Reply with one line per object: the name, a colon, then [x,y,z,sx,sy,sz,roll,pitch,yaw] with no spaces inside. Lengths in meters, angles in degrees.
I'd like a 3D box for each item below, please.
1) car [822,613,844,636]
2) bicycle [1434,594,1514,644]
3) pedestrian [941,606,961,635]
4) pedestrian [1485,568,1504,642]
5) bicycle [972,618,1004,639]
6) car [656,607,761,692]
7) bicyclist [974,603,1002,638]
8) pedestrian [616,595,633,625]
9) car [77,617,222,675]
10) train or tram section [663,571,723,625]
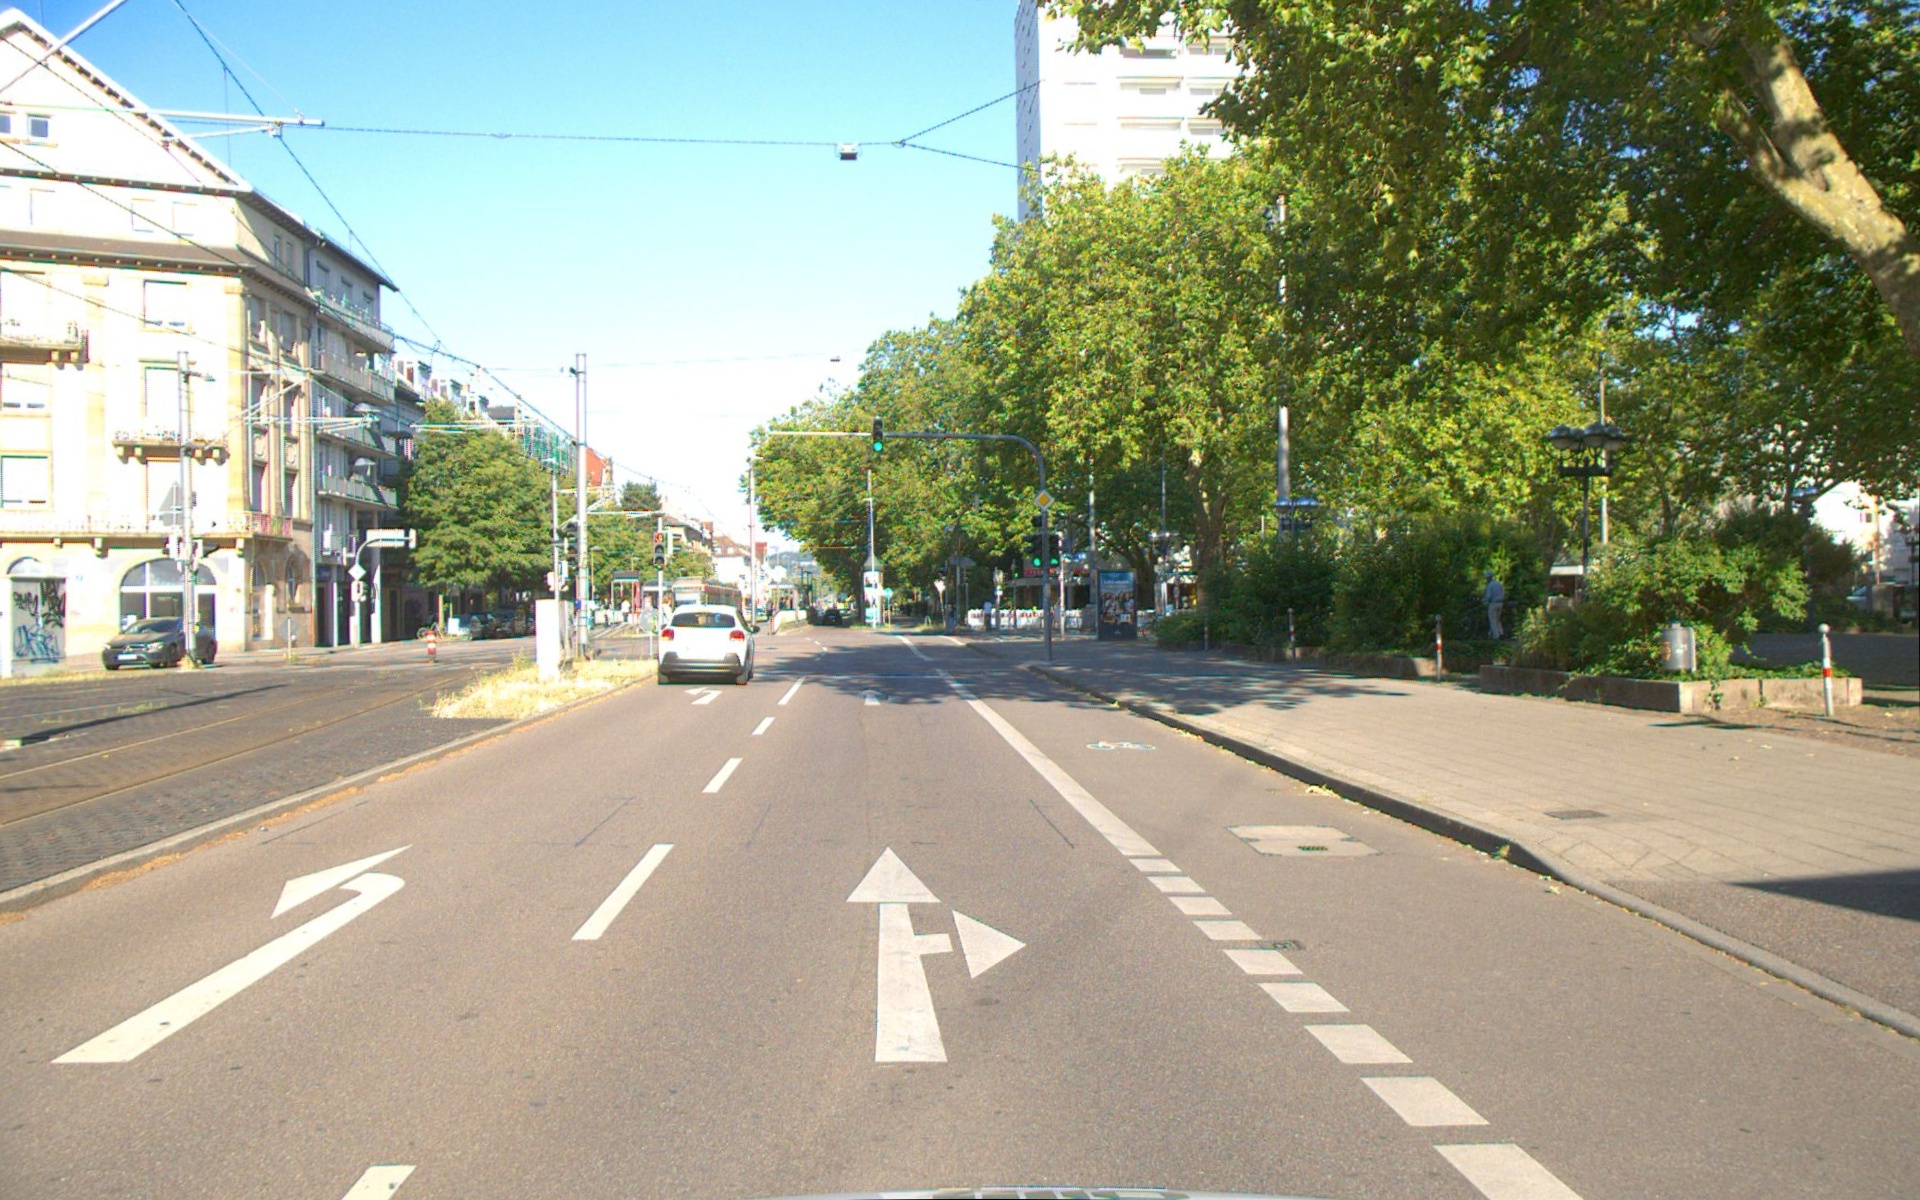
car: [-11.879,2.293,155.091,1.954,2.049,3.997,1,0,-3]
bicycle: [13.489,0.505,43.403,2.289,1.262,0.451,1,0,-25]
pedestrian: [-0.457,1.031,81.628,0.647,1.412,0.831,1,0,28]
pedestrian: [13.869,0.130,42.929,0.383,1.898,0.339,1,0,11]
bicycle: [1.385,1.402,82.016,1.177,0.951,2.568,1,0,-9]
car: [-4.825,0.914,32.108,1.711,1.487,3.641,1,0,-4]
bicyclist: [1.388,1.002,82.015,1.177,1.726,0.902,1,0,-9]
pedestrian: [-21.251,0.623,104.760,0.944,1.865,0.988,1,0,-10]
car: [-23.204,1.273,47.551,1.954,1.474,4.837,-2,0,-3]
train or tram section: [-18.545,-0.128,115.422,2.893,3.470,10.784,1,0,-3]
